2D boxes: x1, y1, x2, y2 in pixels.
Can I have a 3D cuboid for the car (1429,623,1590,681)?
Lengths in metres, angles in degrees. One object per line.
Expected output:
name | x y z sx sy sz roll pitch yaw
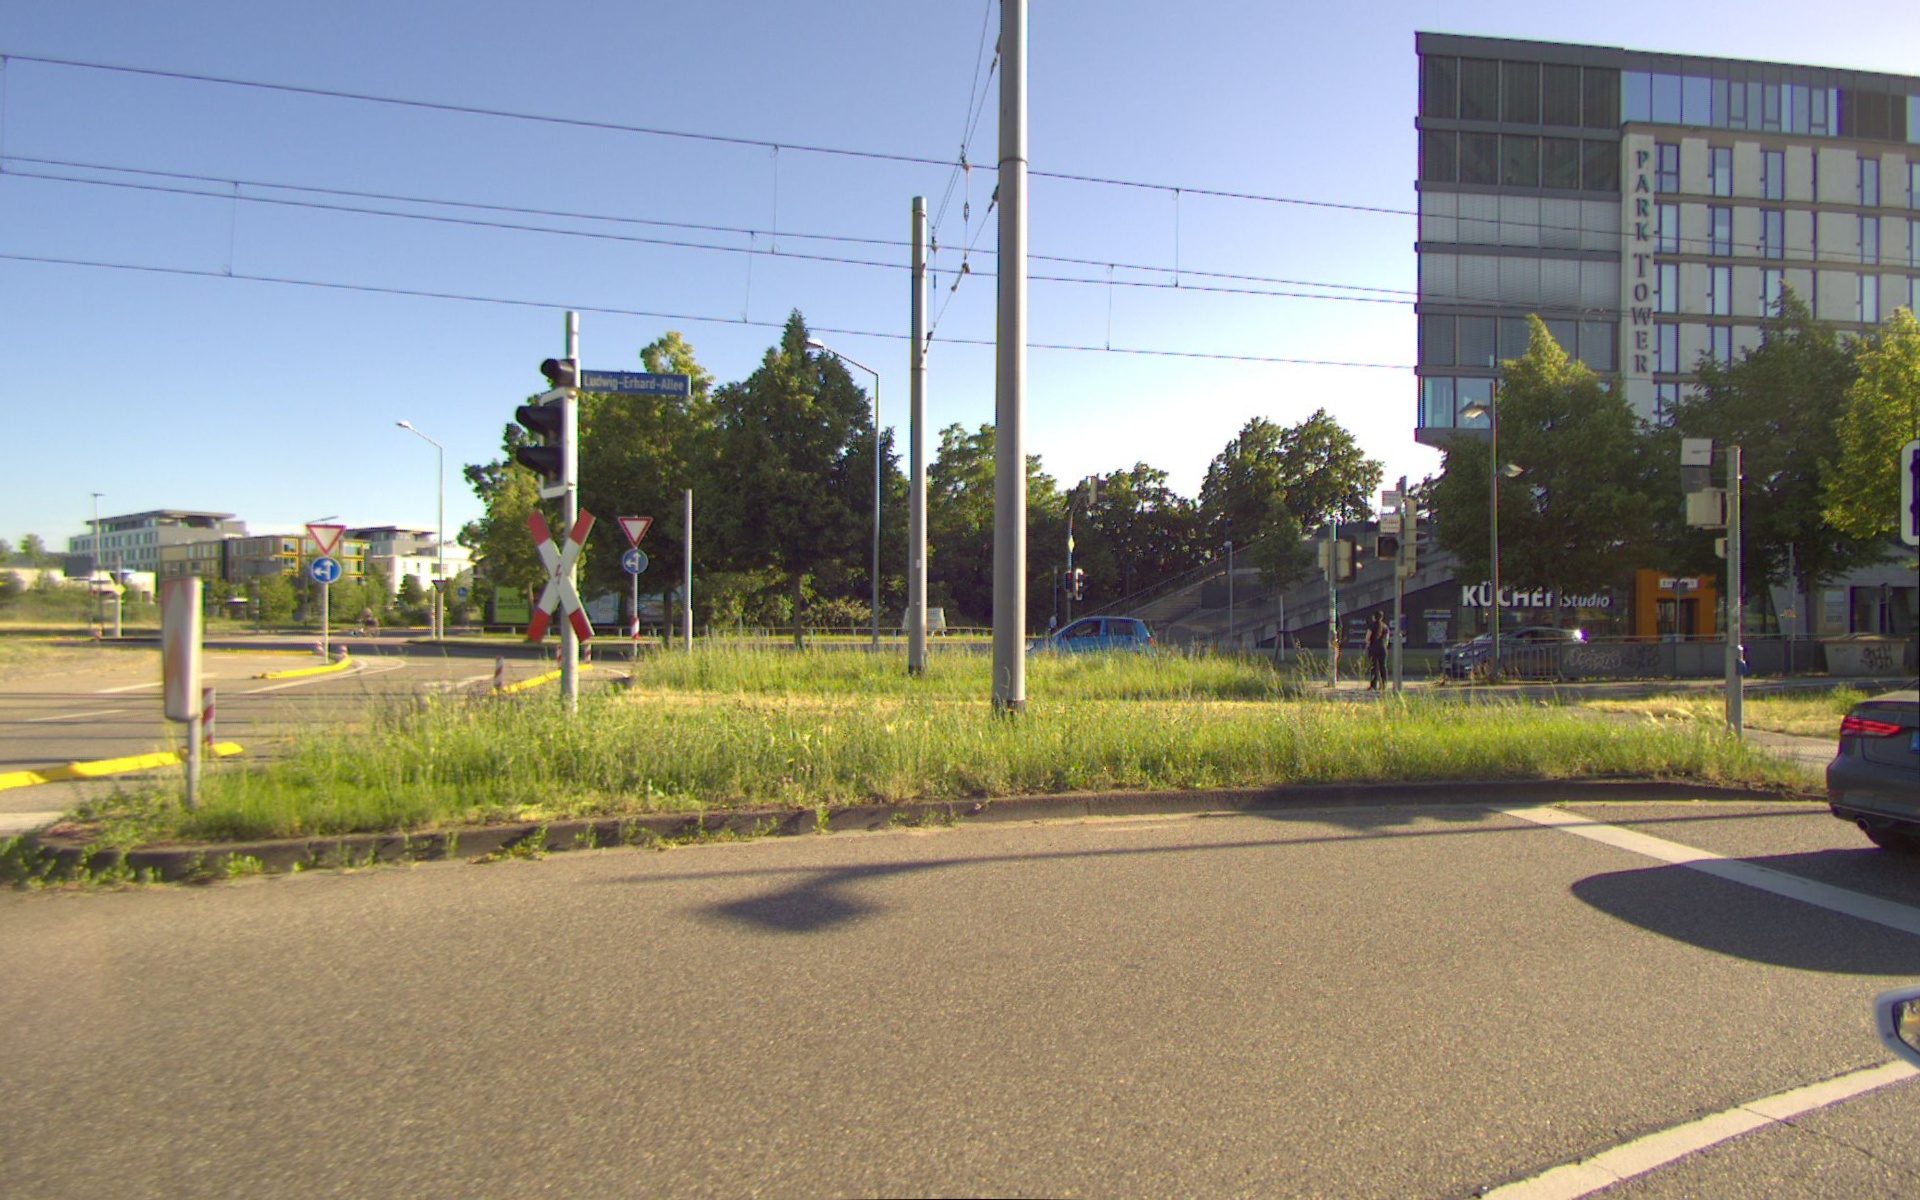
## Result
car | 14.999 1.403 27.501 3.546 1.414 1.662 2 0 -8

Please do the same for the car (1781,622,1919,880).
car | 7.281 0.910 5.911 4.077 1.385 1.721 2 1 -15

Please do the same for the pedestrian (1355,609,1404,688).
pedestrian | 8.731 1.004 20.910 0.797 1.599 0.417 2 0 -10

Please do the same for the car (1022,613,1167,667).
car | 3.512 1.038 26.617 3.551 1.281 1.664 2 0 -2
